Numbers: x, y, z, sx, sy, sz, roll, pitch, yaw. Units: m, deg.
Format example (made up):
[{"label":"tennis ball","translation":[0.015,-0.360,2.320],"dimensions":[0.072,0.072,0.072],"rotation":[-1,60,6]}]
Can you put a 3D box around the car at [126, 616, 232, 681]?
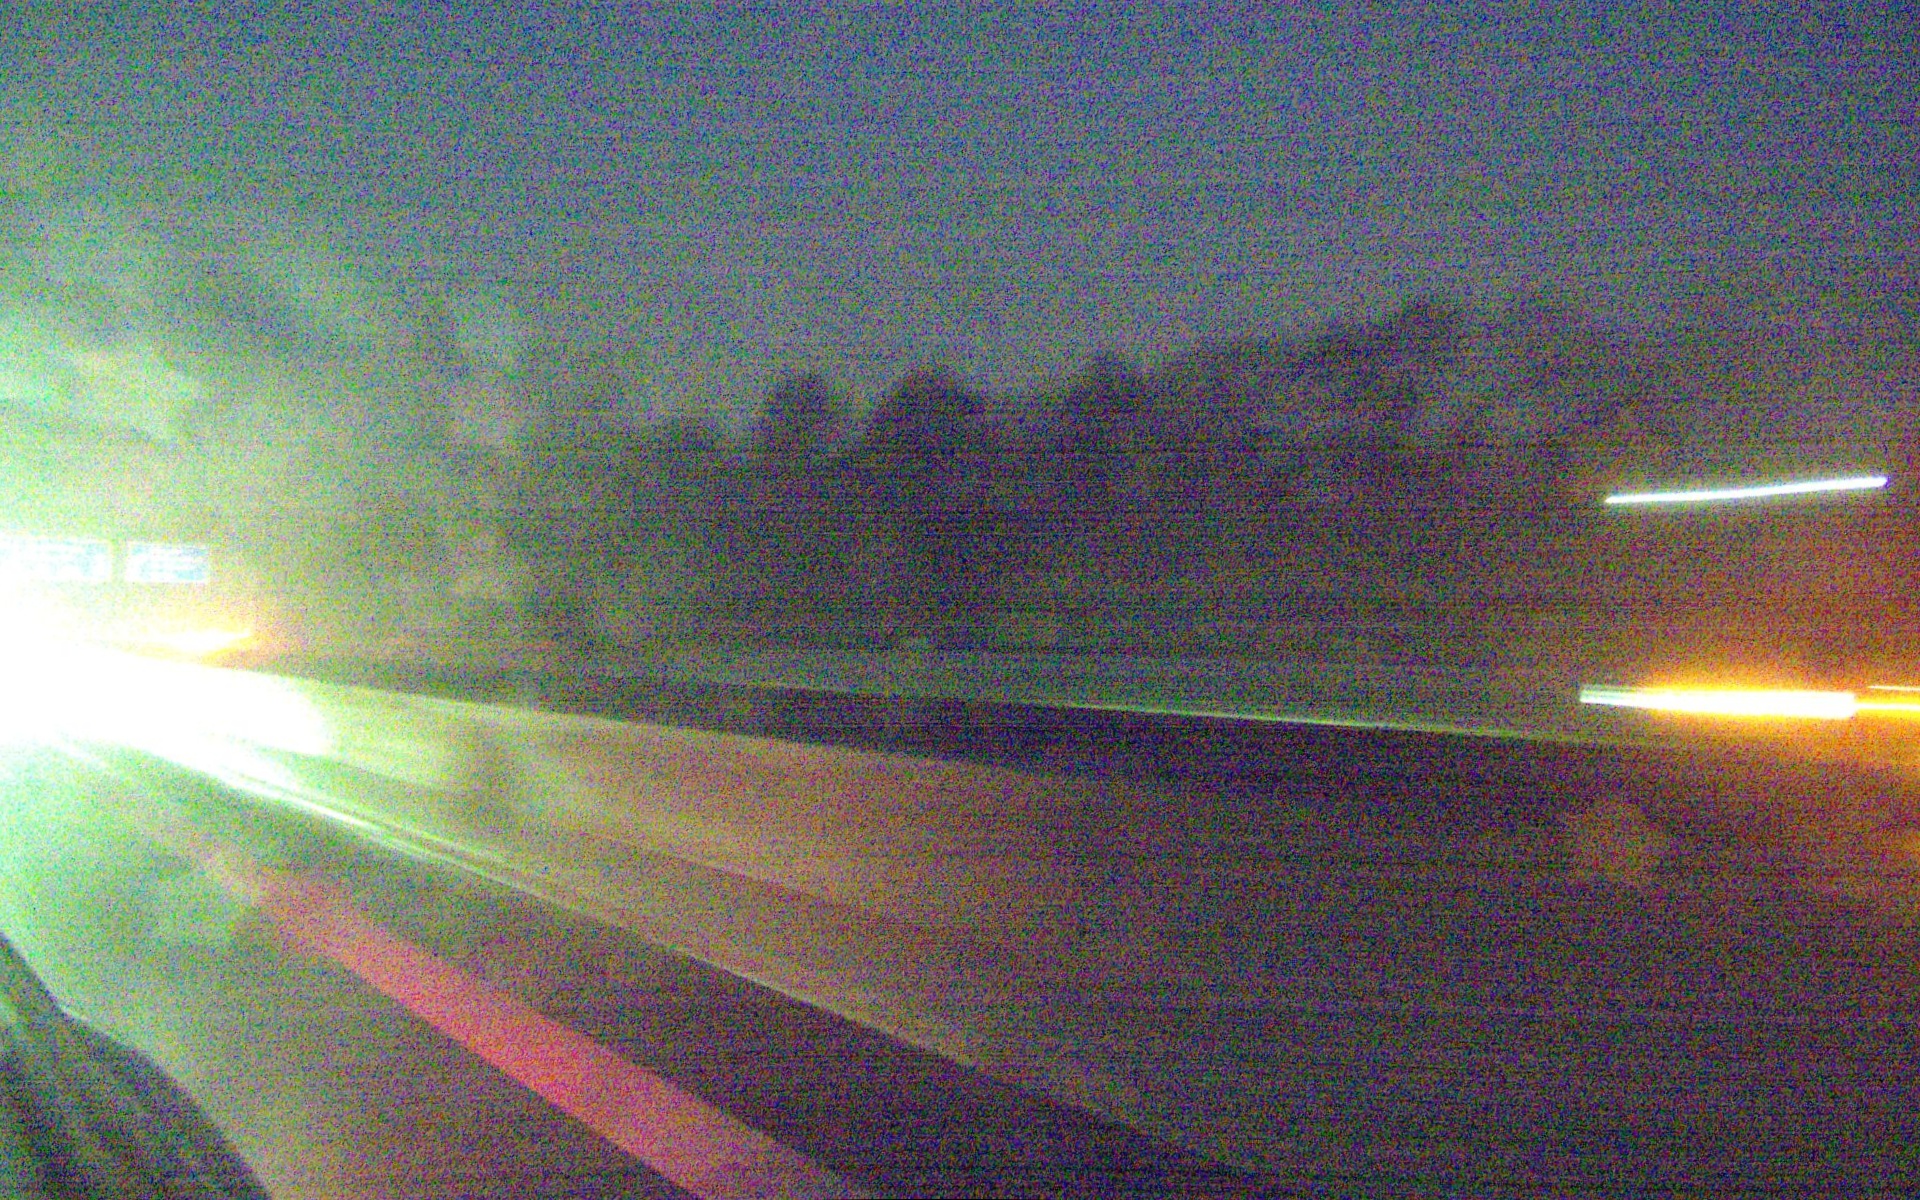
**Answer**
[{"label":"car","translation":[-26.237,1.592,33.946],"dimensions":[4.449,2.029,1.972],"rotation":[-1,-2,41]}]

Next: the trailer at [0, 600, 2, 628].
[{"label":"trailer","translation":[-148.370,2.232,153.846],"dimensions":[15.637,4.253,2.662],"rotation":[-2,-1,42]}]

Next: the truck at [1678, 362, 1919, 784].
[{"label":"truck","translation":[11.679,-0.355,10.575],"dimensions":[6.502,4.299,2.943],"rotation":[-1,3,41]}]
